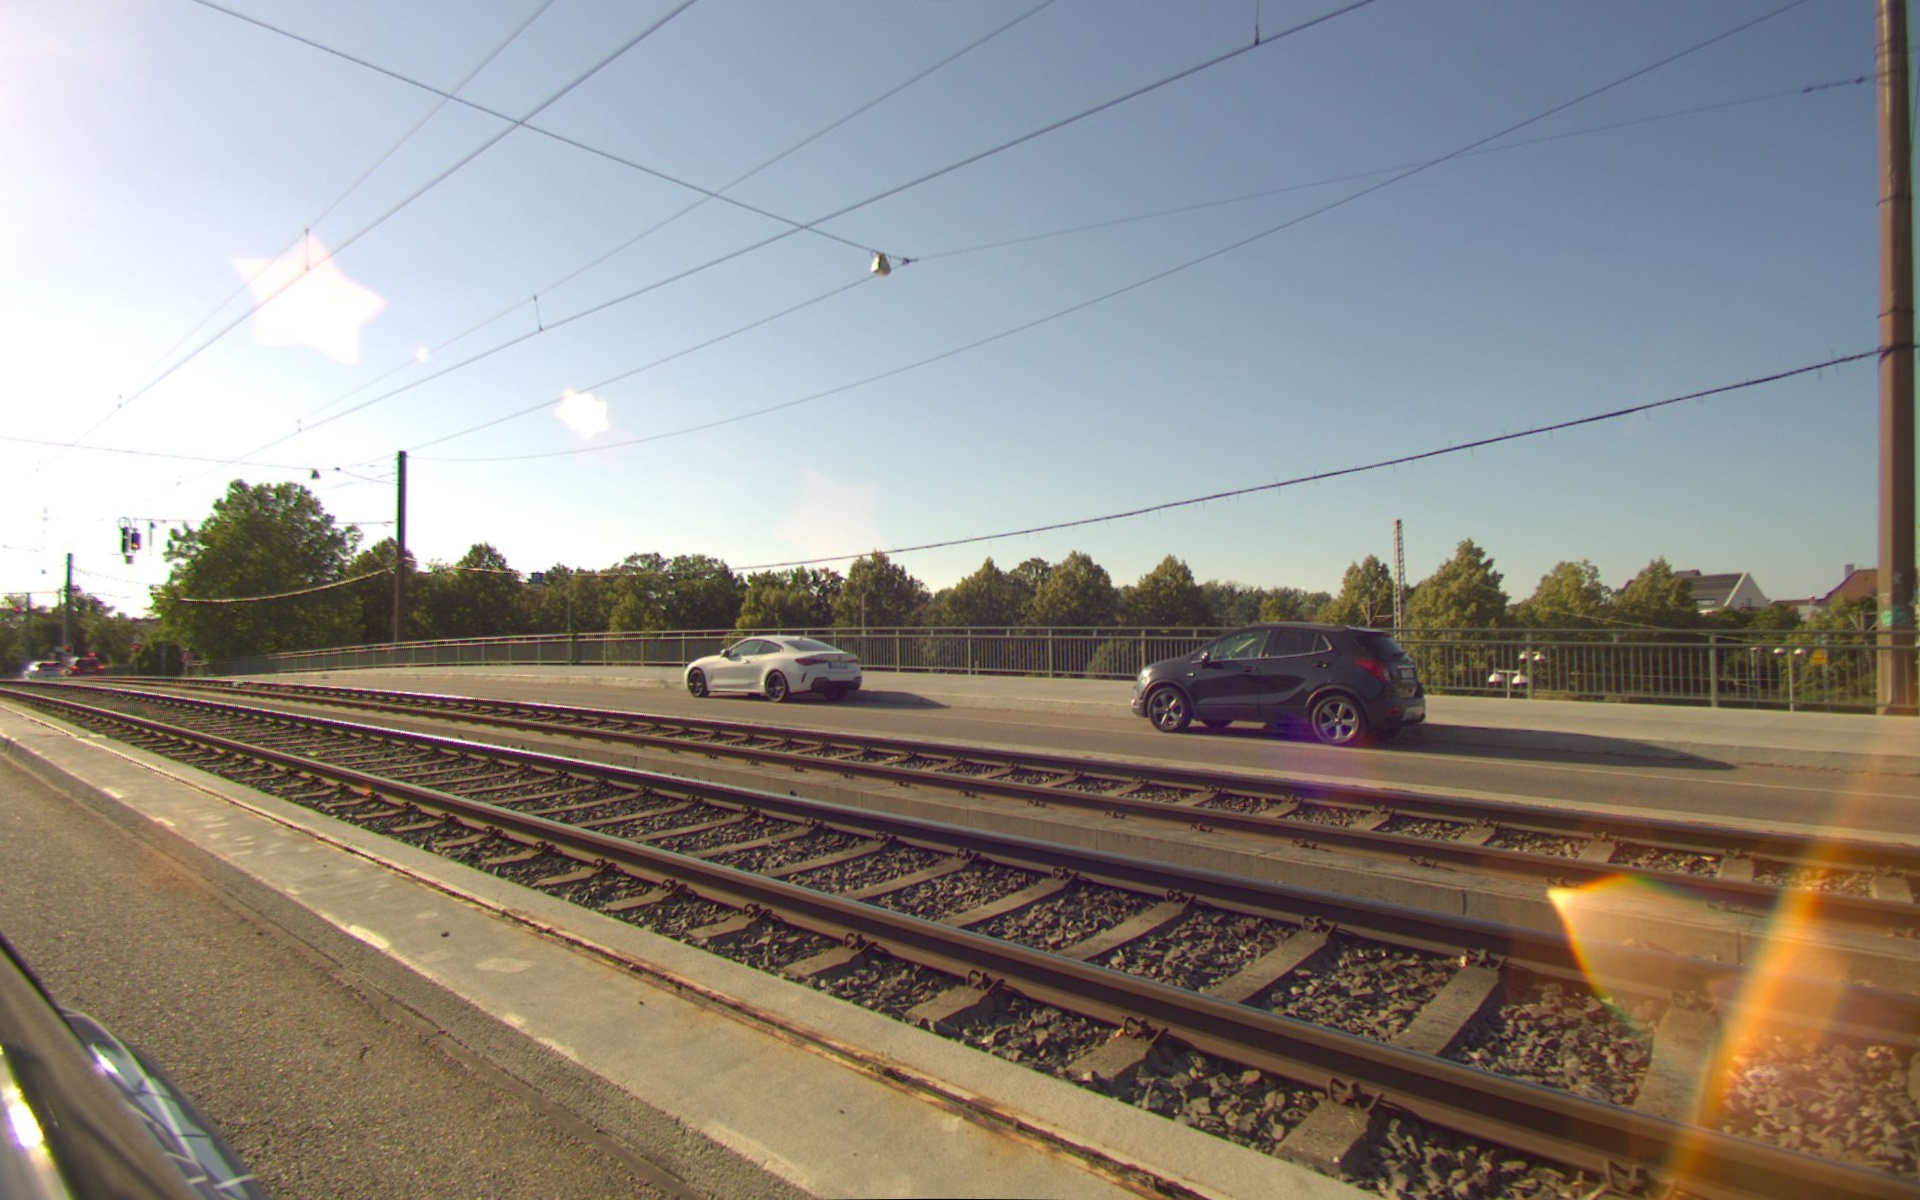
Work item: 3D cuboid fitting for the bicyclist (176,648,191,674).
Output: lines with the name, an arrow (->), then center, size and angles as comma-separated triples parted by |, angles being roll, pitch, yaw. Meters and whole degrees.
bicyclist -> -51.216, 4.036, 66.763 | 0.935, 1.645, 0.618 | -4, -3, 42

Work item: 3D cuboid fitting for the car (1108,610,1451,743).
car -> 4.530, 1.070, 14.784 | 4.444, 1.663, 1.761 | -2, -5, 41

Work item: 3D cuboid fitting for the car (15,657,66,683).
car -> -62.430, 4.742, 68.685 | 5.087, 1.649, 1.980 | -4, -3, 41

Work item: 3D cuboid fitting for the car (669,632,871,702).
car -> -4.275, 1.425, 22.311 | 4.917, 1.367, 1.666 | -1, -4, 41

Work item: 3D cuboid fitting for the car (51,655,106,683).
car -> -50.774, 3.999, 58.275 | 3.997, 1.531, 1.789 | -5, -5, 41

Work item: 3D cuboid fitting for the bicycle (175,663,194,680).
bicycle -> -51.038, 4.703, 66.590 | 2.259, 1.131, 0.618 | -4, -3, 42
